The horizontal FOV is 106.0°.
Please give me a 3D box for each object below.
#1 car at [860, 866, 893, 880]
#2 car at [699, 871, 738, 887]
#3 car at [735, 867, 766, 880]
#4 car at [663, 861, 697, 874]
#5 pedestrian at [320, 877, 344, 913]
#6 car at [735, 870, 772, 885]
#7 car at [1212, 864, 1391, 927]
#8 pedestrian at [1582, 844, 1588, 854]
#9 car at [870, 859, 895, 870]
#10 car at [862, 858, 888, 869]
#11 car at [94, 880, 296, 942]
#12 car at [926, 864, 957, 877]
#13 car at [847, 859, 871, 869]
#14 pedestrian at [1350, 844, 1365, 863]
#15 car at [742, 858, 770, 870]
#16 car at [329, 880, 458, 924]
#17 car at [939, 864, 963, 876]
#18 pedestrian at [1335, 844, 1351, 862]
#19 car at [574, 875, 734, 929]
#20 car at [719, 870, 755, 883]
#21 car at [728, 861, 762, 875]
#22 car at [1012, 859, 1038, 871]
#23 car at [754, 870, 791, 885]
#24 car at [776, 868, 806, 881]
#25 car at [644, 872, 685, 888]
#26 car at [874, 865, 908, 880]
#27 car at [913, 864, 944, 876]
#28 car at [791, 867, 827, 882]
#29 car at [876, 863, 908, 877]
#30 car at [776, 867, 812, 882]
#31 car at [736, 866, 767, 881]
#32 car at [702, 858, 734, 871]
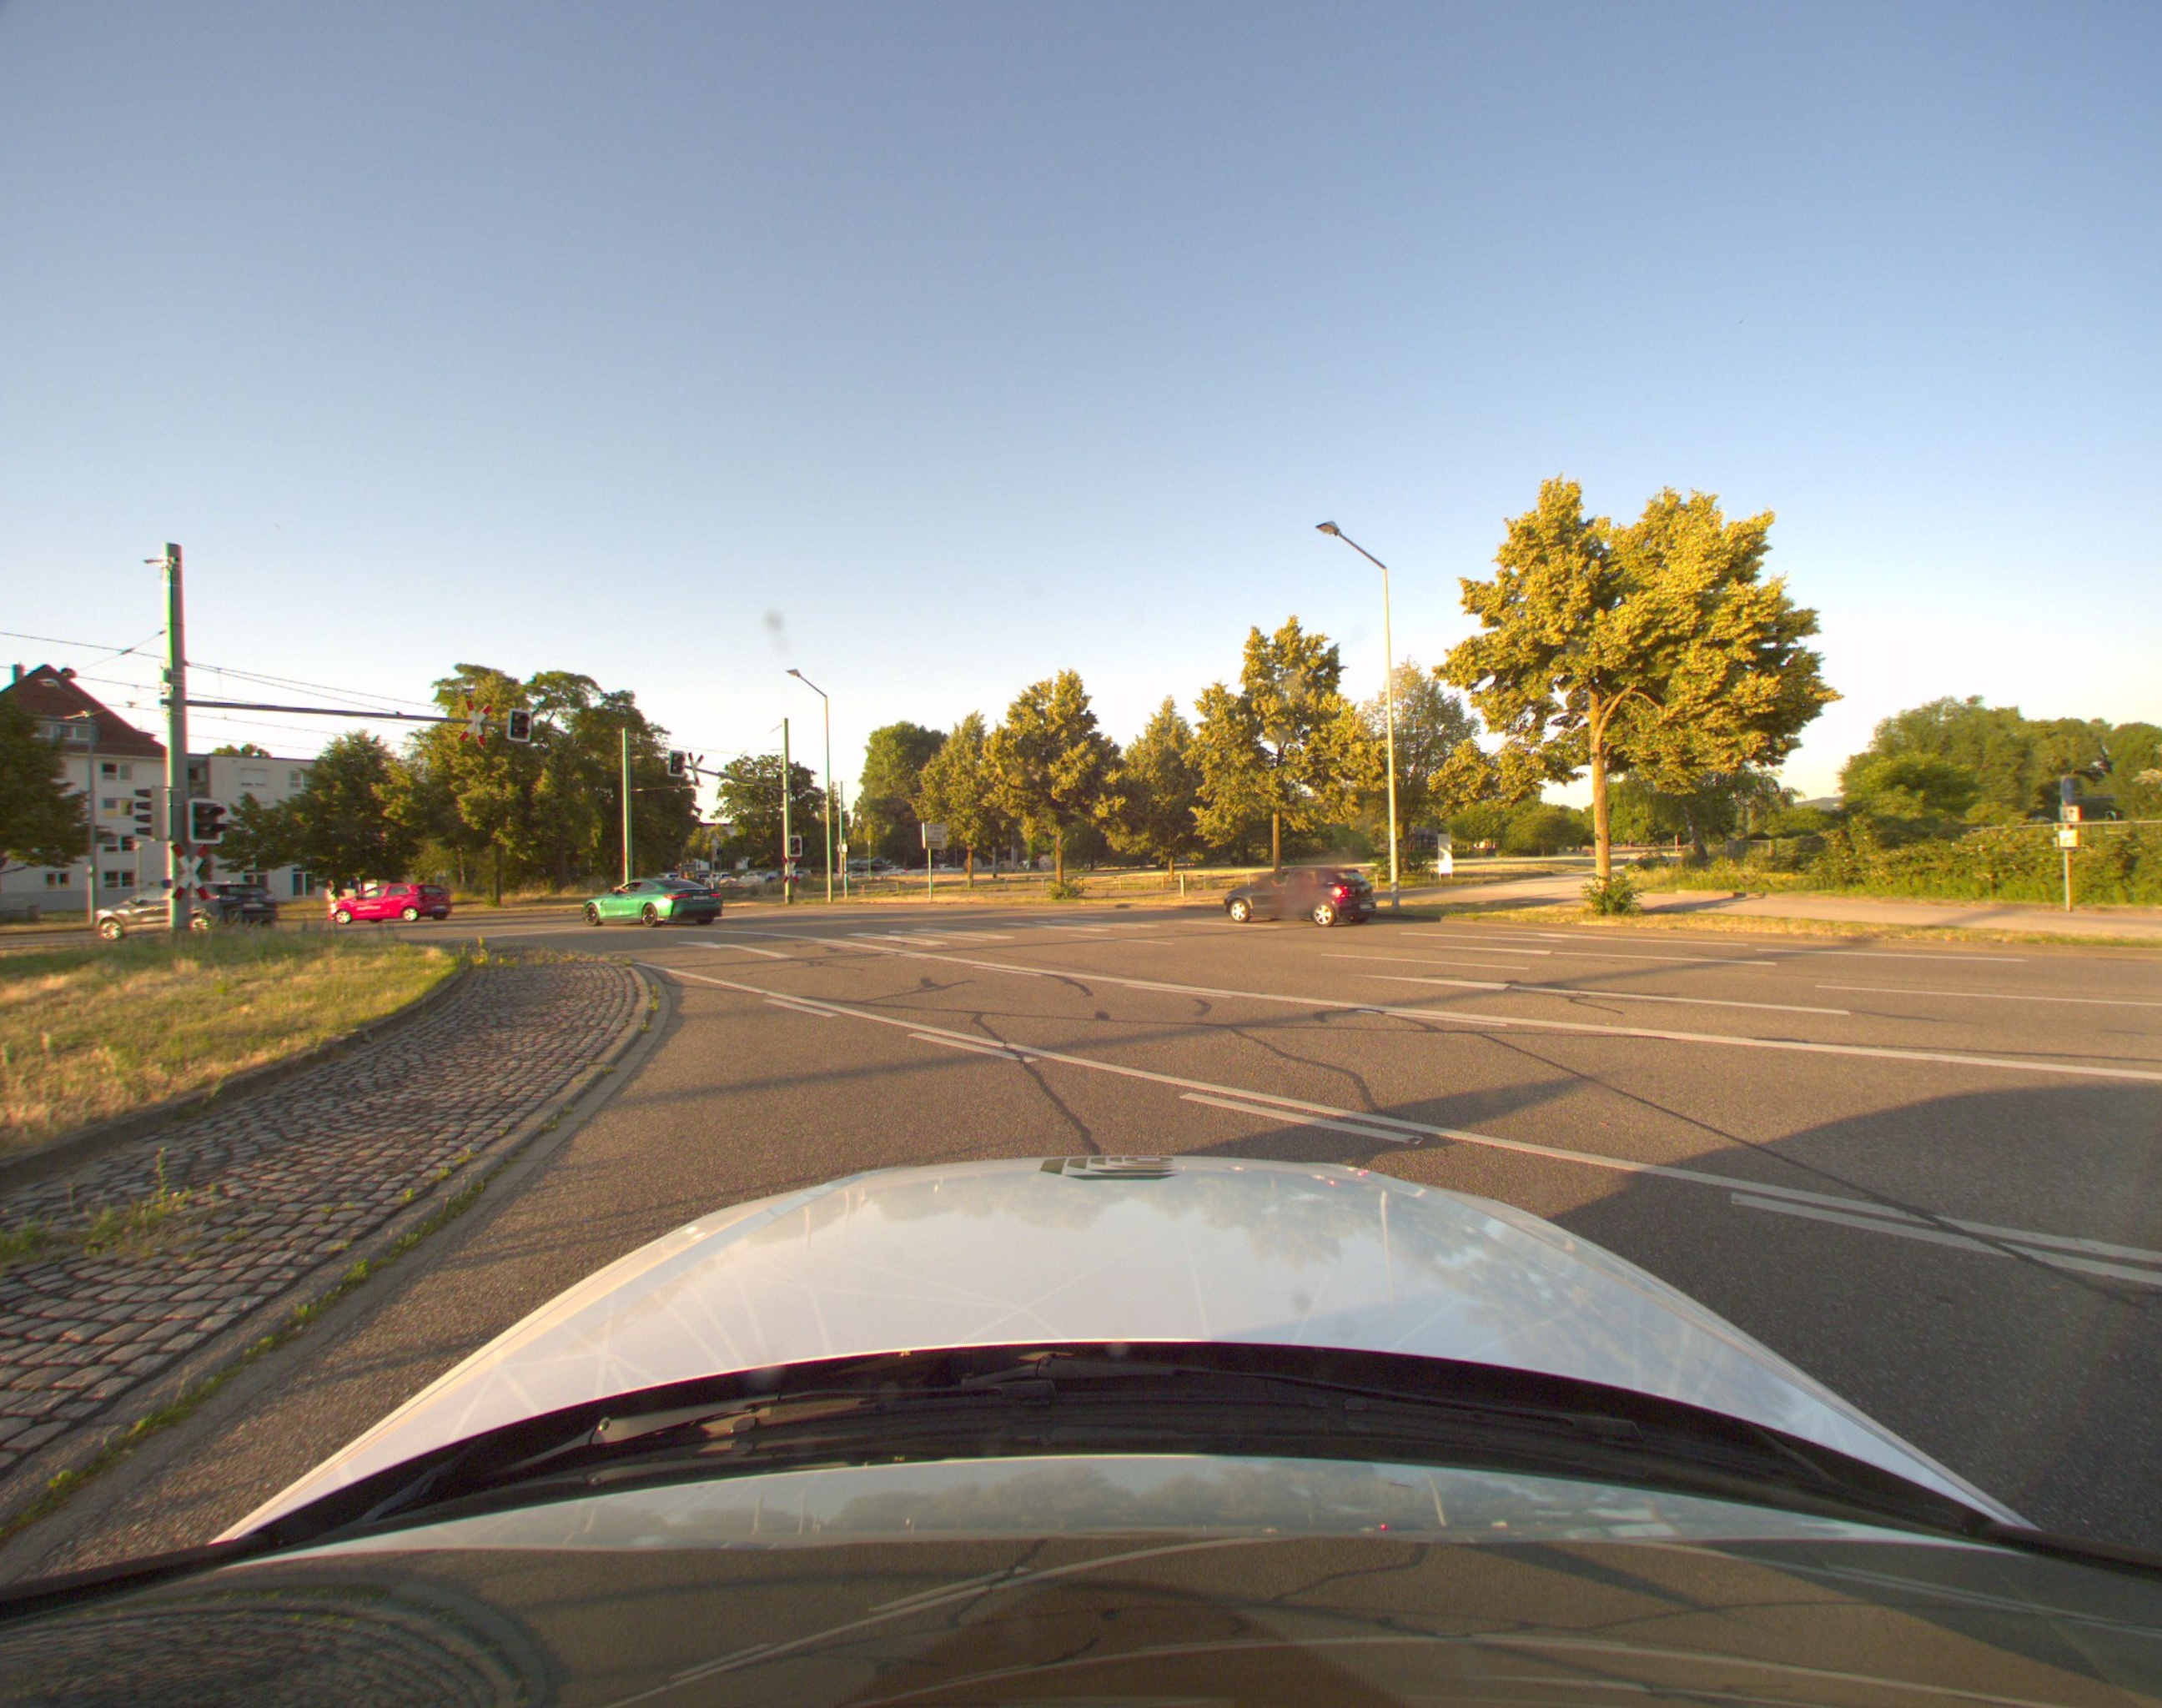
[{"bbox_3d":[-26.657,2.475,105.988,3.948,1.604,2.013,-2,0,34],"label":"car"},{"bbox_3d":[-39.008,2.677,87.543,3.948,1.604,2.013,-2,0,34],"label":"car"},{"bbox_3d":[-46.214,2.775,113.946,4.005,1.662,1.984,-2,0,-24],"label":"car"},{"bbox_3d":[-65.648,2.223,133.327,1.974,2.013,4.627,-2,0,32],"label":"car"},{"bbox_3d":[-39.813,2.191,43.296,0.666,1.893,0.619,0,-1,-4],"label":"pedestrian"},{"bbox_3d":[-37.038,2.699,92.063,3.948,1.604,2.013,-2,0,34],"label":"car"},{"bbox_3d":[5.374,0.974,20.216,1.704,1.354,3.952,-2,0,-42],"label":"car"},{"bbox_3d":[92.665,-0.932,149.735,0.844,1.661,0.984,-2,0,27],"label":"pedestrian"},{"bbox_3d":[-35.667,1.876,146.438,3.964,1.706,2.005,-2,0,8],"label":"car"},{"bbox_3d":[-37.943,1.766,150.045,1.975,2.013,4.025,-2,0,42],"label":"car"},{"bbox_3d":[-25.693,1.631,23.697,3.968,1.584,1.898,-2,0,5],"label":"car"},{"bbox_3d":[-19.977,2.362,116.482,3.948,1.604,2.013,-2,0,34],"label":"car"},{"bbox_3d":[-41.731,1.875,153.023,1.974,1.816,4.026,-2,0,37],"label":"car"},{"bbox_3d":[24.208,-0.070,71.360,1.064,1.617,0.911,-2,0,4],"label":"pedestrian"},{"bbox_3d":[-57.821,1.793,144.936,1.974,2.013,4.143,-2,0,36],"label":"car"},{"bbox_3d":[-26.373,1.839,31.315,3.469,1.500,1.642,-2,0,-2],"label":"car"},{"bbox_3d":[-20.825,2.517,129.989,2.008,1.752,4.549,-1,1,-35],"label":"car"},{"bbox_3d":[23.102,-0.092,71.808,1.064,1.617,0.911,-2,0,4],"label":"pedestrian"},{"bbox_3d":[-12.568,1.359,23.903,4.673,1.371,2.013,-2,0,32],"label":"car"},{"bbox_3d":[-46.100,3.006,109.147,1.878,1.662,4.026,-2,0,37],"label":"car"},{"bbox_3d":[-51.867,2.112,125.805,1.974,2.013,4.627,-2,0,32],"label":"car"},{"bbox_3d":[-7.940,1.514,115.263,1.748,1.618,3.954,-1,0,-39],"label":"car"},{"bbox_3d":[-35.494,2.701,93.673,3.948,1.604,2.013,-2,0,34],"label":"car"},{"bbox_3d":[-41.285,2.873,115.997,4.001,1.662,1.889,-2,0,-20],"label":"car"},{"bbox_3d":[-42.639,2.669,83.326,3.948,1.604,2.013,-2,0,34],"label":"car"},{"bbox_3d":[-27.636,2.674,118.513,4.578,2.013,1.995,-2,0,-7],"label":"car"},{"bbox_3d":[-21.453,2.306,114.787,3.948,1.604,2.013,-2,0,34],"label":"car"},{"bbox_3d":[-32.621,2.451,97.611,3.948,1.604,2.013,-2,0,34],"label":"car"},{"bbox_3d":[-29.362,2.404,126.701,4.578,2.013,1.995,-2,0,-7],"label":"car"},{"bbox_3d":[-33.686,2.441,95.431,3.948,1.604,2.013,-2,0,34],"label":"car"},{"bbox_3d":[-47.597,2.760,117.698,4.006,2.013,1.984,-2,0,-24],"label":"car"},{"bbox_3d":[-61.909,1.778,139.066,1.974,2.013,4.628,-2,0,36],"label":"car"}]
